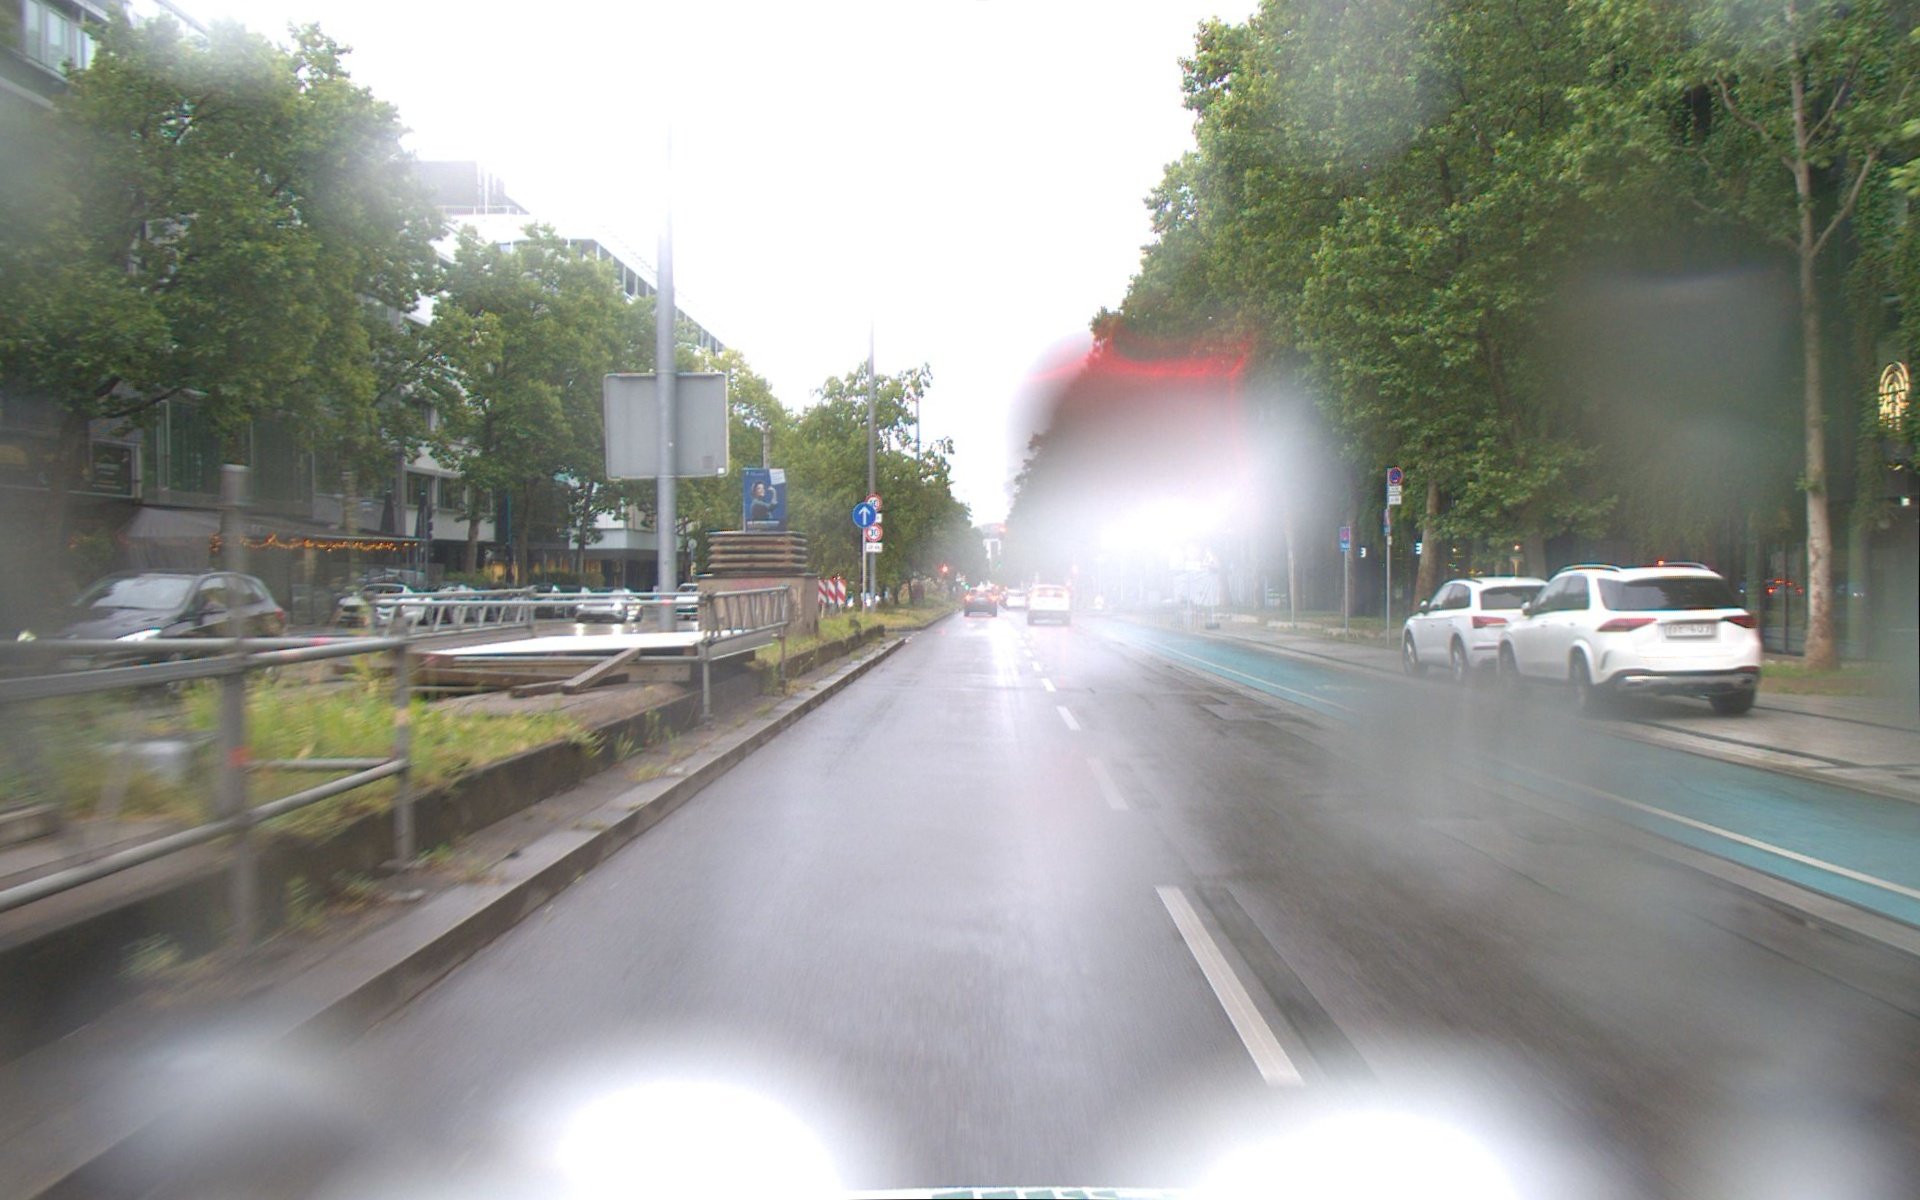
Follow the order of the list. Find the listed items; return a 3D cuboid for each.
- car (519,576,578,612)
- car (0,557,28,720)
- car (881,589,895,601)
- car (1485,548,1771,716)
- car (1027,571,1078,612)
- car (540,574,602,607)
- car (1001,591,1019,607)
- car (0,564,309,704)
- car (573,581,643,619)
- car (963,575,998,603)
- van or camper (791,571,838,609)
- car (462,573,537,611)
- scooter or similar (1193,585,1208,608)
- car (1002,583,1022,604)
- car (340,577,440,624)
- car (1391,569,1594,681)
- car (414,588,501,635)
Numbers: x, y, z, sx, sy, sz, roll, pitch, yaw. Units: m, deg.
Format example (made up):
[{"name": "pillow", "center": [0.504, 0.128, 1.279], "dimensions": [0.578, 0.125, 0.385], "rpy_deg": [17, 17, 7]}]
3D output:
[{"name": "car", "center": [-17.757, -0.274, 71.573], "dimensions": [1.658, 1.494, 3.460], "rpy_deg": [0, 1, 0]}, {"name": "car", "center": [-10.289, 0.405, 14.253], "dimensions": [1.699, 1.601, 4.833], "rpy_deg": [0, 1, 1]}, {"name": "car", "center": [-8.916, -0.570, 204.542], "dimensions": [1.581, 1.418, 3.598], "rpy_deg": [0, 1, 0]}, {"name": "car", "center": [8.348, 0.319, 21.217], "dimensions": [1.805, 1.870, 5.096], "rpy_deg": [-1, 1, 3]}, {"name": "car", "center": [3.924, -0.388, 71.058], "dimensions": [1.952, 1.684, 4.889], "rpy_deg": [0, 1, 1]}, {"name": "car", "center": [-17.843, -0.452, 76.086], "dimensions": [1.658, 1.433, 4.905], "rpy_deg": [0, 1, 1]}, {"name": "car", "center": [4.522, -0.085, 149.469], "dimensions": [1.587, 1.398, 4.000], "rpy_deg": [0, 1, 1]}, {"name": "car", "center": [-10.196, 0.345, 21.049], "dimensions": [1.874, 1.579, 4.543], "rpy_deg": [0, 1, 2]}, {"name": "car", "center": [-14.002, -0.037, 66.066], "dimensions": [1.927, 1.433, 4.955], "rpy_deg": [0, 1, -2]}, {"name": "car", "center": [1.132, -0.648, 92.110], "dimensions": [1.879, 1.517, 4.001], "rpy_deg": [0, 1, 0]}, {"name": "van or camper", "center": [-7.654, -0.577, 87.615], "dimensions": [1.952, 1.947, 5.252], "rpy_deg": [0, 1, 1]}, {"name": "car", "center": [-18.017, -0.333, 64.955], "dimensions": [1.658, 1.433, 4.457], "rpy_deg": [0, 1, 1]}, {"name": "scooter or similar", "center": [12.951, -0.205, 89.080], "dimensions": [0.374, 1.249, 1.075], "rpy_deg": [1, 0, 36]}, {"name": "car", "center": [4.316, -0.581, 137.301], "dimensions": [1.587, 1.695, 4.000], "rpy_deg": [0, 1, 1]}, {"name": "car", "center": [-18.383, -0.020, 53.537], "dimensions": [1.527, 1.377, 4.683], "rpy_deg": [1, 1, 1]}, {"name": "car", "center": [8.588, 0.326, 27.133], "dimensions": [1.805, 1.661, 4.787], "rpy_deg": [0, 1, 0]}, {"name": "car", "center": [-17.584, 0.377, 58.093], "dimensions": [1.799, 1.534, 4.001], "rpy_deg": [0, 1, 0]}]
